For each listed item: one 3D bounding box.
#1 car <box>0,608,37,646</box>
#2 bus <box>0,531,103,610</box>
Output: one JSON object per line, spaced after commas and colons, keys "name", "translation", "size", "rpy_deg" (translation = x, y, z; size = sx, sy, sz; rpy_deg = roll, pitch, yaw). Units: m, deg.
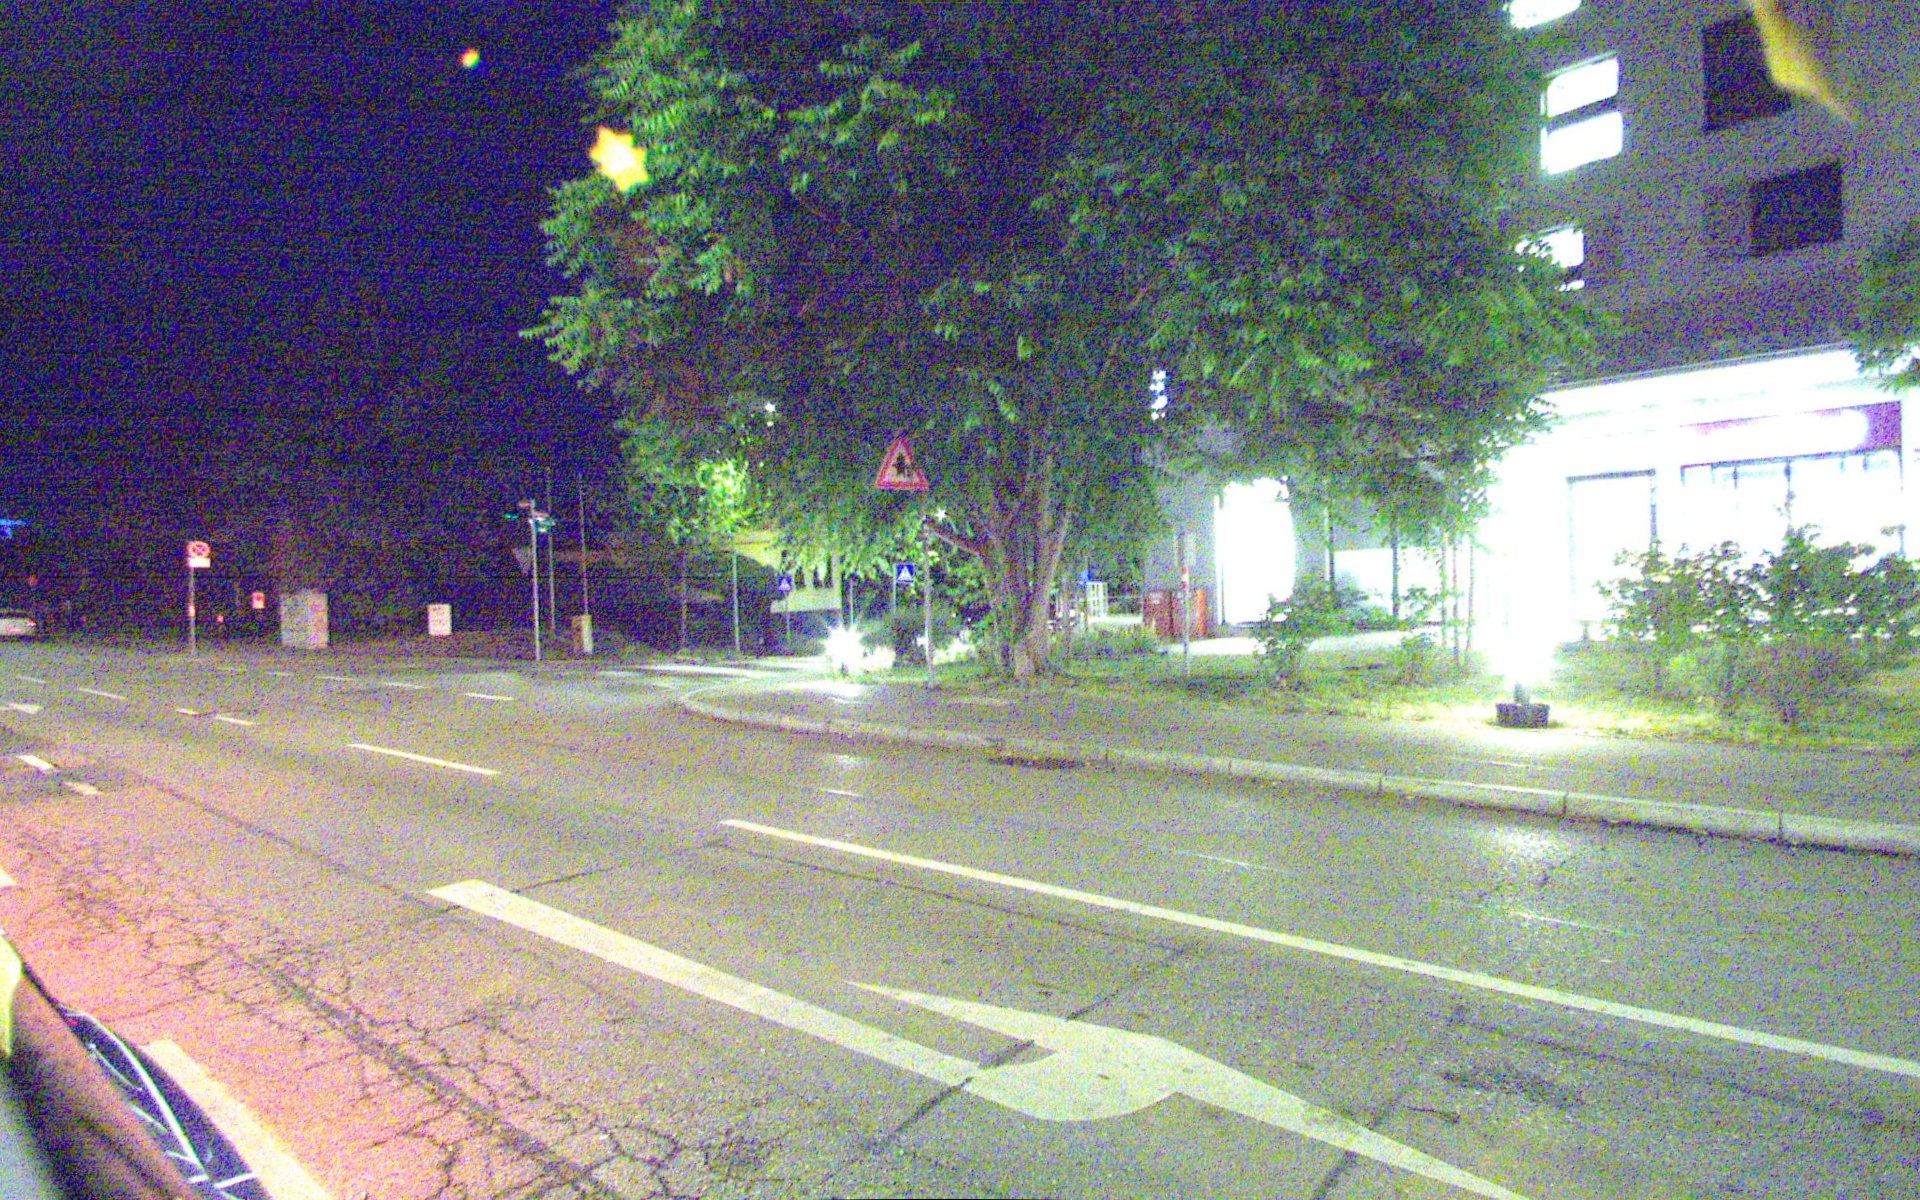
{"name": "car", "translation": [-43.189, 1.202, 45.637], "size": [3.996, 1.604, 1.784], "rpy_deg": [-1, 0, 39]}
{"name": "bus", "translation": [-88.558, -2.633, 98.208], "size": [14.776, 6.990, 6.056], "rpy_deg": [-1, 0, 41]}
